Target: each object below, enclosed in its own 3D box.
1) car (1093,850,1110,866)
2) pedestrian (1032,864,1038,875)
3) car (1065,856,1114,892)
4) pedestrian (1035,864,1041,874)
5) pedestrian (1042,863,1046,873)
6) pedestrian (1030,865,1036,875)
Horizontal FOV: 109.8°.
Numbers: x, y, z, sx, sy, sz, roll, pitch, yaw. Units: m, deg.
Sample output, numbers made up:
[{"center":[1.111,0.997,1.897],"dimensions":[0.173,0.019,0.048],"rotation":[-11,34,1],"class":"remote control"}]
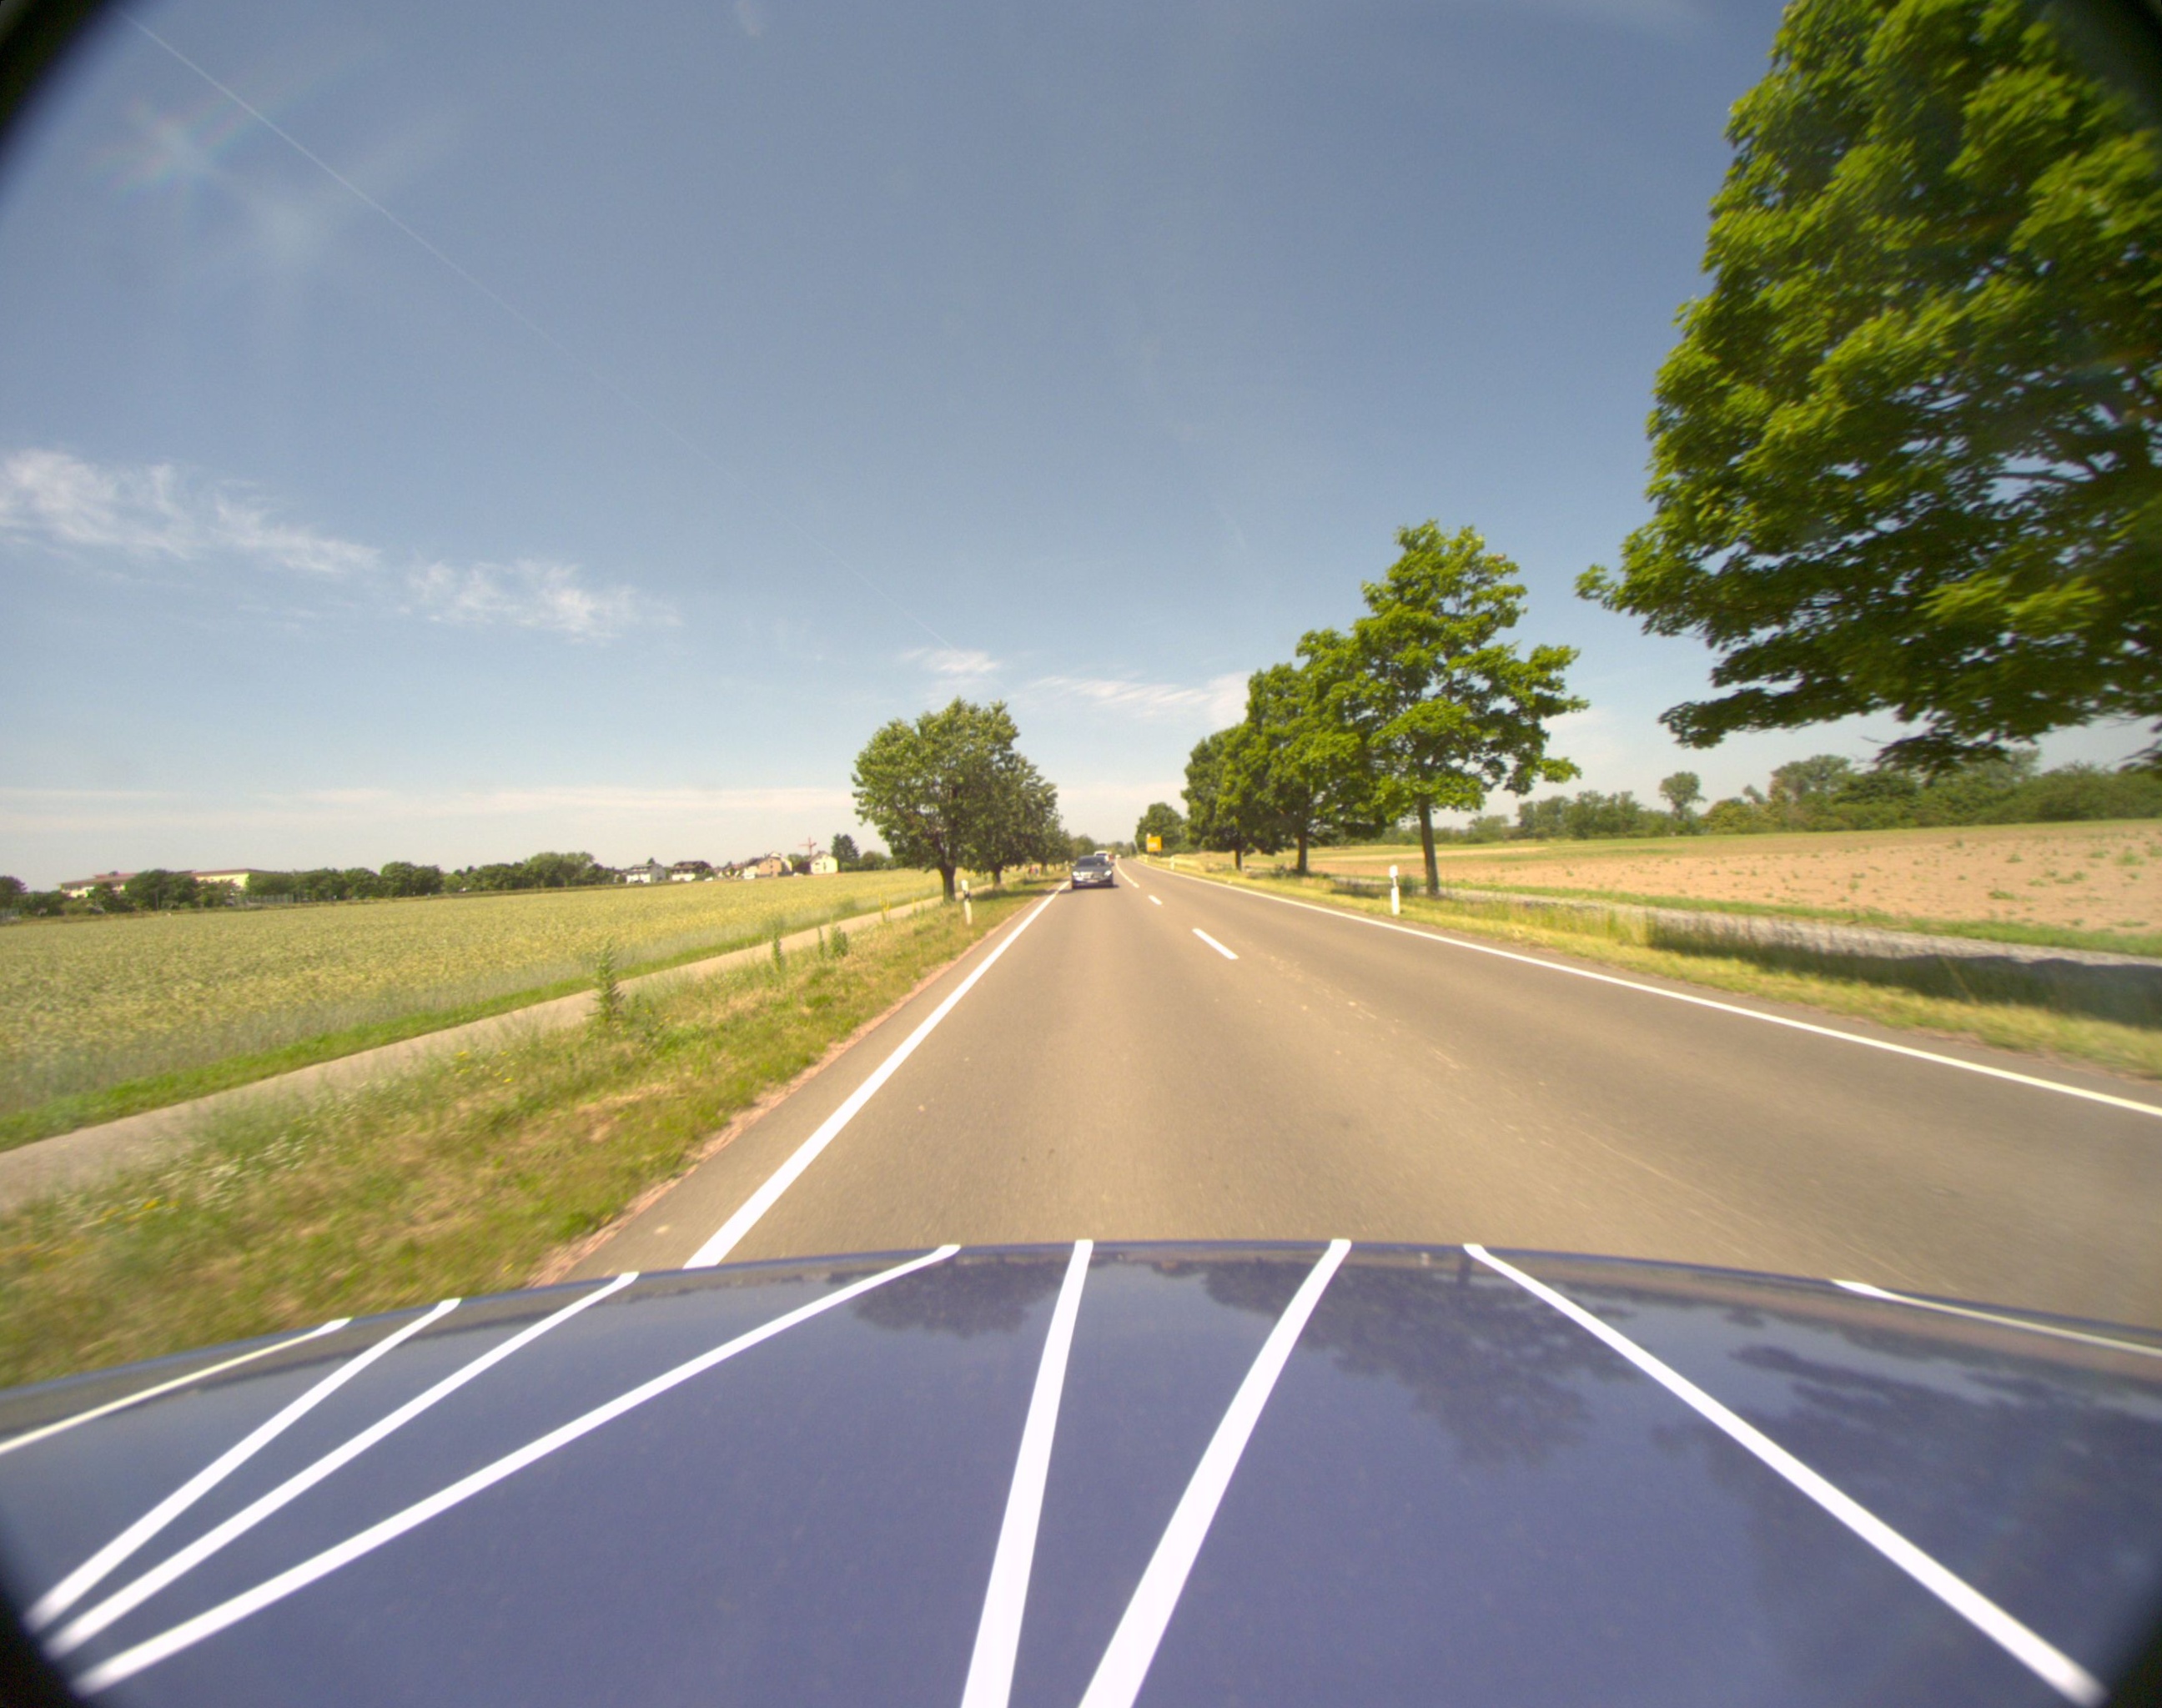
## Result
[{"center":[2.660,0.534,98.762],"dimensions":[1.998,1.907,4.206],"rotation":[-3,0,2],"class":"car"},{"center":[-5.768,1.915,95.222],"dimensions":[0.486,1.306,0.443],"rotation":[-2,1,45],"class":"pedestrian"},{"center":[0.409,0.816,32.660],"dimensions":[1.953,1.391,4.000],"rotation":[-1,0,1],"class":"car"},{"center":[-5.390,1.908,95.631],"dimensions":[0.486,1.288,0.443],"rotation":[-2,1,35],"class":"pedestrian"},{"center":[-4.681,1.800,96.238],"dimensions":[0.442,1.288,0.487],"rotation":[-3,1,-5],"class":"pedestrian"},{"center":[-6.025,1.994,95.894],"dimensions":[0.443,1.288,0.486],"rotation":[-3,1,-42],"class":"pedestrian"}]
